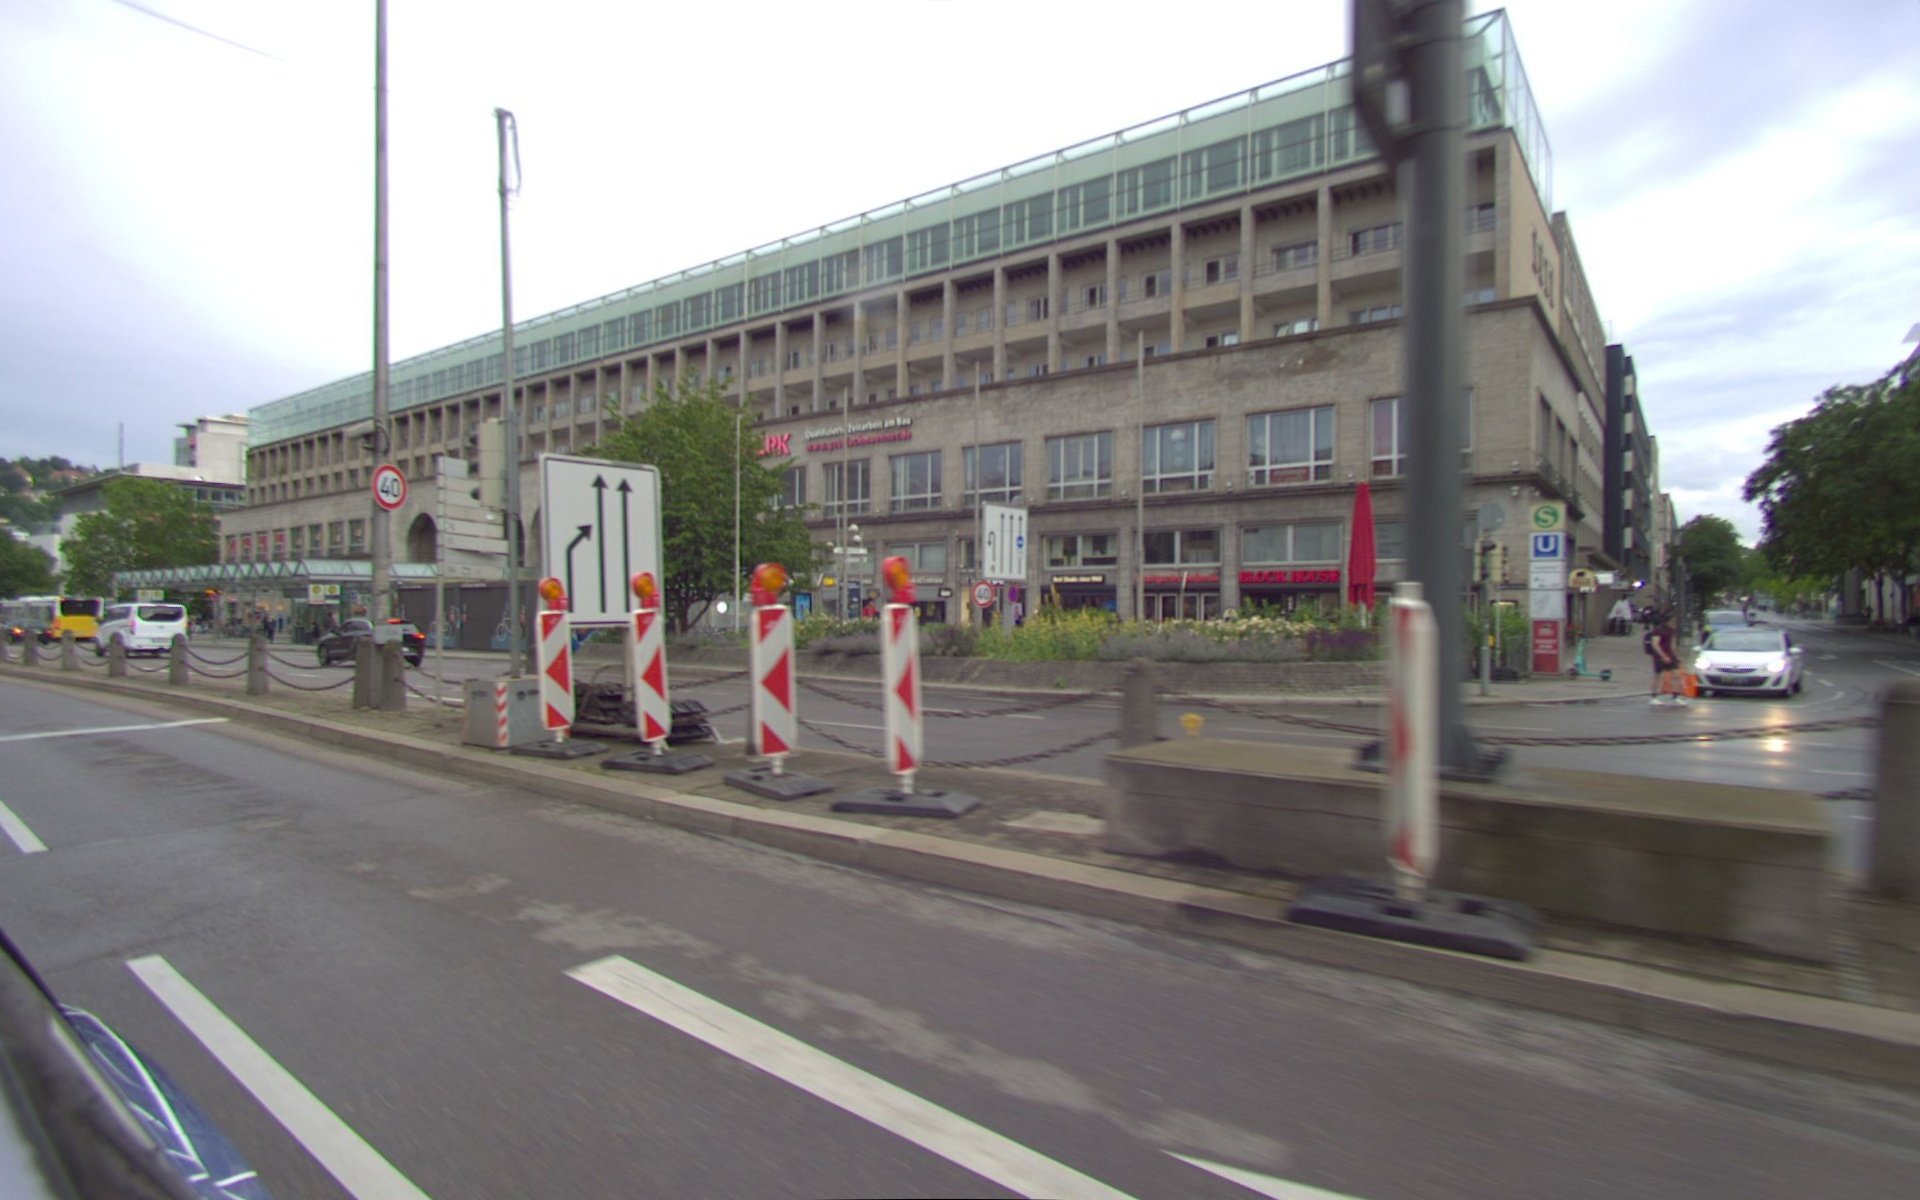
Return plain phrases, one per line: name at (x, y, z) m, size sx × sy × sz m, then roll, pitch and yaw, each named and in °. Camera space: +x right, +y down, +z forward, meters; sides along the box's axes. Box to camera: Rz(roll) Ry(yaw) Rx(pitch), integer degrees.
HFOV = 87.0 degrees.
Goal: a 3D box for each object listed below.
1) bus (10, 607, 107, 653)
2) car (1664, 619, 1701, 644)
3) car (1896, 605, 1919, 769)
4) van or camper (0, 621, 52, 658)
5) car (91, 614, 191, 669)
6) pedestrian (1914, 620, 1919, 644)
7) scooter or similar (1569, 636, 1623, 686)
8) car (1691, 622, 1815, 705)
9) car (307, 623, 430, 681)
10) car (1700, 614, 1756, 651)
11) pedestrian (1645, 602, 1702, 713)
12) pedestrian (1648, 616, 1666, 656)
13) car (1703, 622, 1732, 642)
bus at (-62.122, 2.059, 69.656) m, size 9.801 × 2.963 × 2.876 m, roll -1°, pitch -2°, yaw 36°
car at (47.068, 2.052, 66.008) m, size 1.792 × 1.574 × 4.037 m, roll -1°, pitch -2°, yaw 34°
car at (11.411, 0.845, 9.248) m, size 3.994 × 1.634 × 1.738 m, roll -1°, pitch -2°, yaw 37°
van or camper at (-53.630, 2.245, 57.822) m, size 3.993 × 2.029 × 1.845 m, roll -1°, pitch -3°, yaw 37°
car at (-30.915, 1.547, 38.181) m, size 3.994 × 1.988 × 2.013 m, roll -1°, pitch -3°, yaw 37°
pedestrian at (53.091, 1.760, 55.813) m, size 0.564 × 1.308 × 0.617 m, roll -1°, pitch 1°, yaw 34°
scooter or similar at (16.018, 1.533, 25.504) m, size 1.040 × 1.254 × 0.424 m, roll 0°, pitch -2°, yaw 13°
car at (17.476, 1.327, 22.238) m, size 1.806 × 1.652 × 4.036 m, roll -2°, pitch -3°, yaw 43°
car at (-18.527, 1.583, 31.659) m, size 3.992 × 1.697 × 1.865 m, roll -1°, pitch -2°, yaw 36°
car at (37.358, 1.574, 49.307) m, size 1.792 × 1.741 × 4.038 m, roll -1°, pitch -2°, yaw 33°
pedestrian at (13.495, 1.071, 19.146) m, size 0.806 × 2.029 × 0.696 m, roll -2°, pitch -3°, yaw 38°
pedestrian at (36.025, 1.842, 52.307) m, size 0.704 × 2.029 × 0.797 m, roll -2°, pitch -3°, yaw 37°
car at (64.390, 2.730, 86.027) m, size 1.627 × 1.618 × 3.584 m, roll -1°, pitch -2°, yaw 32°
